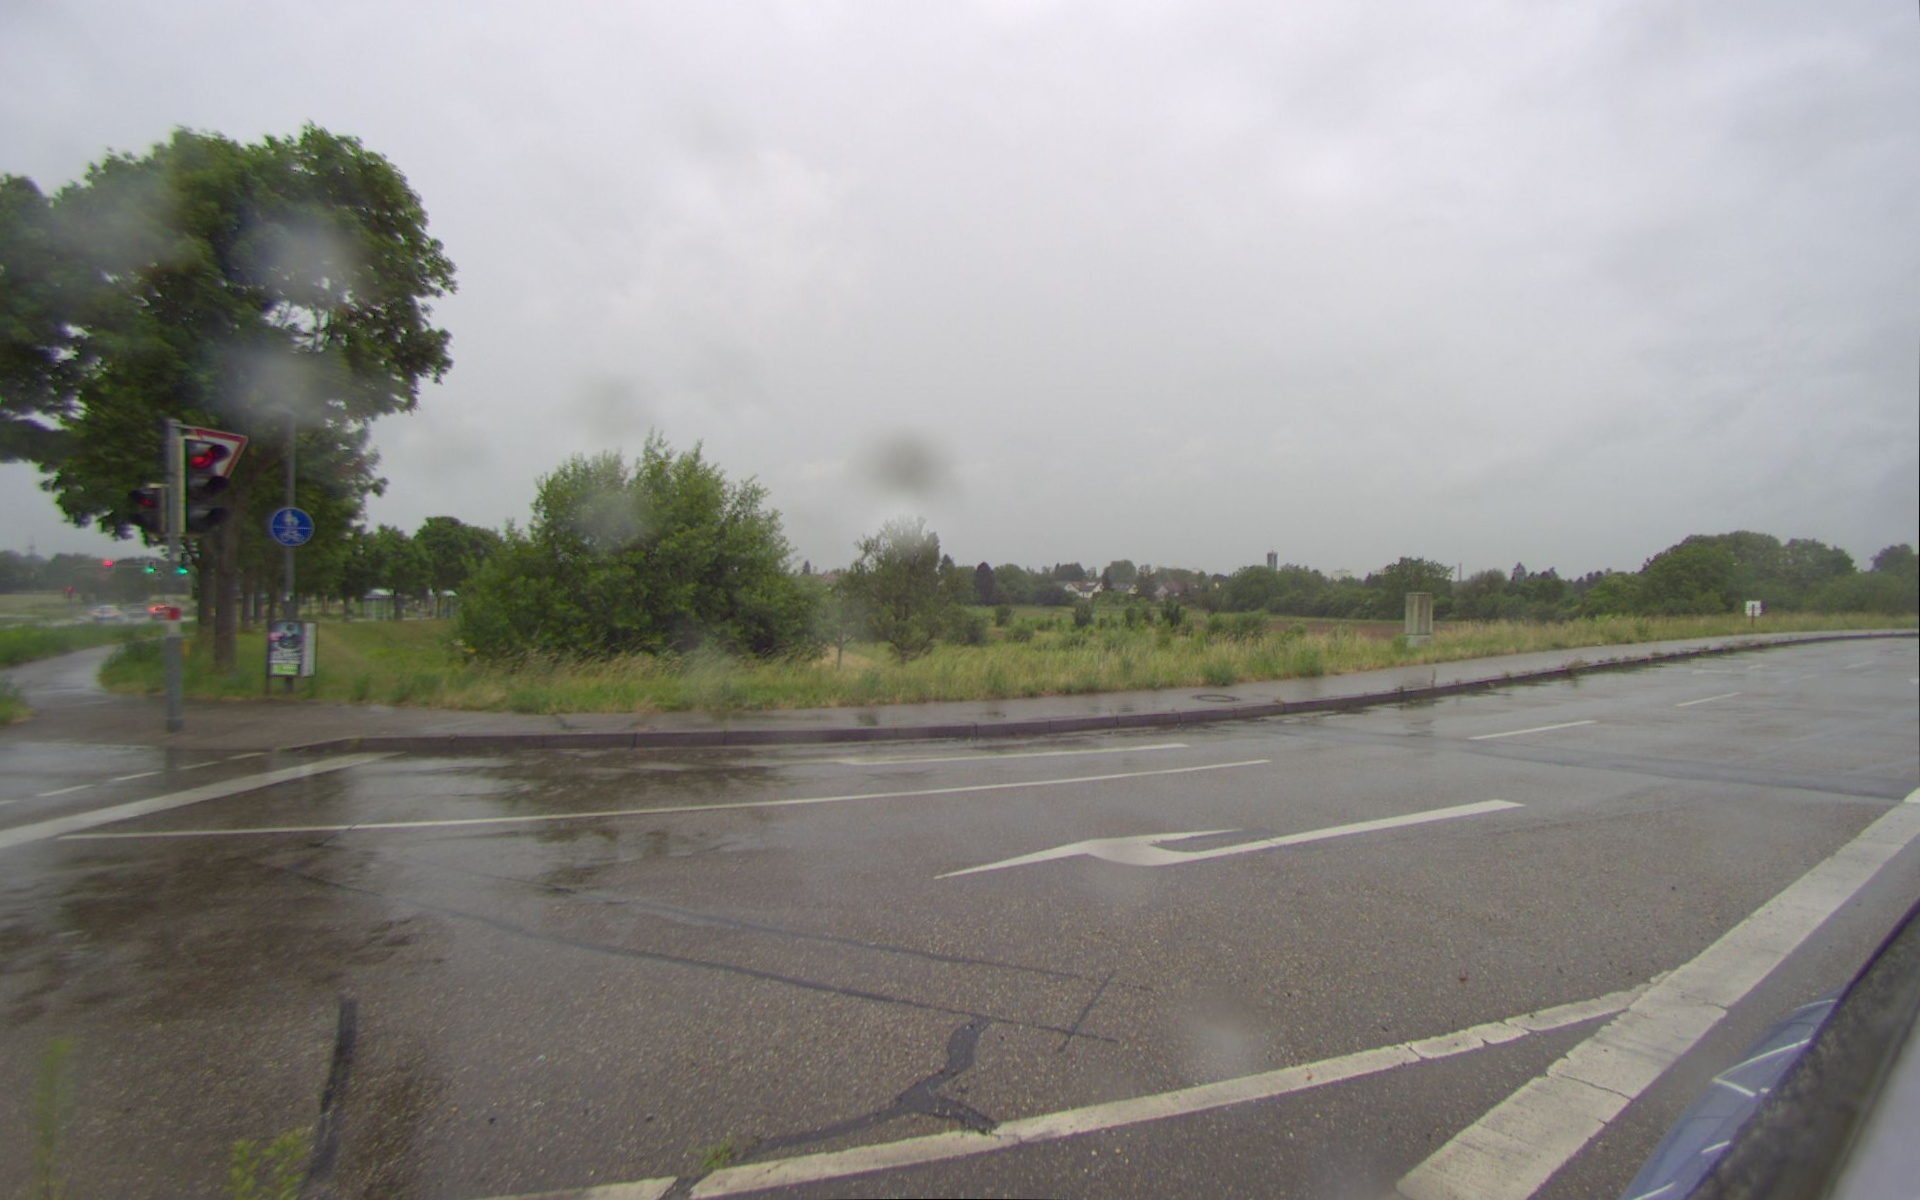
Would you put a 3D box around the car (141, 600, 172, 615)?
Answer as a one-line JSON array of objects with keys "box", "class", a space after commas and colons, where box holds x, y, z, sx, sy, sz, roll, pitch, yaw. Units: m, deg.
[{"box": [-76.353, 0.692, 96.201, 1.843, 1.371, 4.055, 0, 1, -32], "class": "car"}]

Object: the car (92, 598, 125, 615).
[{"box": [-74.900, 0.532, 89.050, 1.844, 1.371, 4.052, 0, 1, -34], "class": "car"}]
